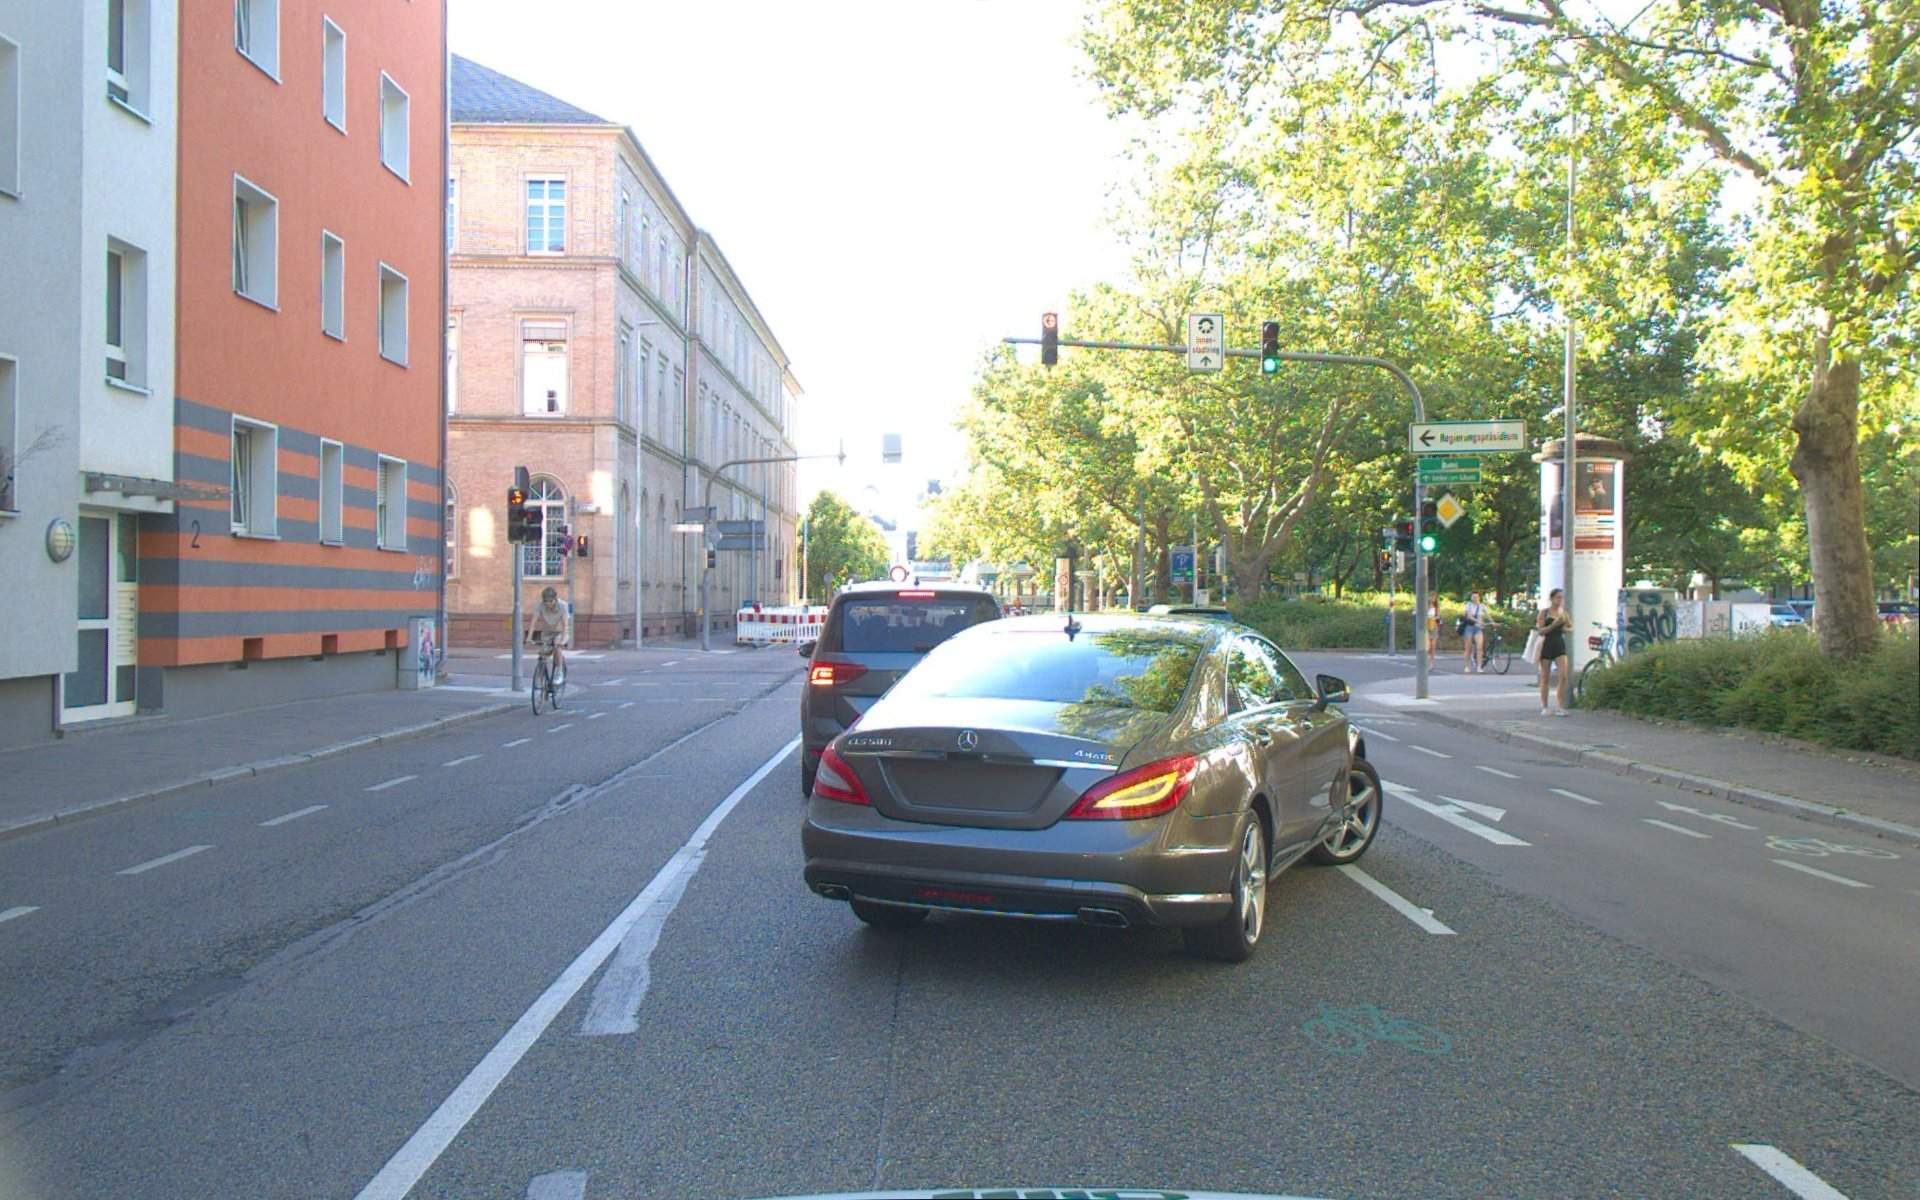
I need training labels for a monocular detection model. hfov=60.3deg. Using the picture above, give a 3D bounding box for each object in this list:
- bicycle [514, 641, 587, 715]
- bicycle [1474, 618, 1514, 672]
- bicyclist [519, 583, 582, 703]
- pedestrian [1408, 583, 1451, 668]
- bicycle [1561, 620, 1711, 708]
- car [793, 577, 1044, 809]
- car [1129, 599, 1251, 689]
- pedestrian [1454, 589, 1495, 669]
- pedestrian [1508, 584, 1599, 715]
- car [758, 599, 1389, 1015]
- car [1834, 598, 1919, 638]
[{"bbox_3d":[-5.517,1.031,22.384,0.537,0.906,1.867,1,0,-1],"label":"bicycle"},{"bbox_3d":[11.662,0.967,36.126,0.513,1.119,1.742,1,0,8],"label":"bicycle"},{"bbox_3d":[-5.543,0.574,22.404,0.635,1.586,0.806,1,-1,-2],"label":"bicyclist"},{"bbox_3d":[10.318,0.560,36.380,0.716,1.840,0.909,-1,-1,4],"label":"pedestrian"},{"bbox_3d":[9.697,0.909,23.754,1.936,1.210,0.528,1,-1,-2],"label":"bicycle"},{"bbox_3d":[-0.265,0.667,13.713,1.772,1.641,4.000,0,0,1],"label":"car"},{"bbox_3d":[4.068,0.751,29.758,1.655,1.465,3.902,1,0,0],"label":"car"},{"bbox_3d":[11.263,0.626,36.223,0.669,1.727,0.971,1,0,6],"label":"pedestrian"},{"bbox_3d":[7.754,0.639,21.656,0.782,1.659,0.906,-1,-1,-5],"label":"pedestrian"},{"bbox_3d":[0.903,0.758,8.319,1.805,1.454,4.516,1,0,23],"label":"car"},{"bbox_3d":[36.265,0.690,65.143,1.596,1.508,3.794,1,0,-2],"label":"car"}]
